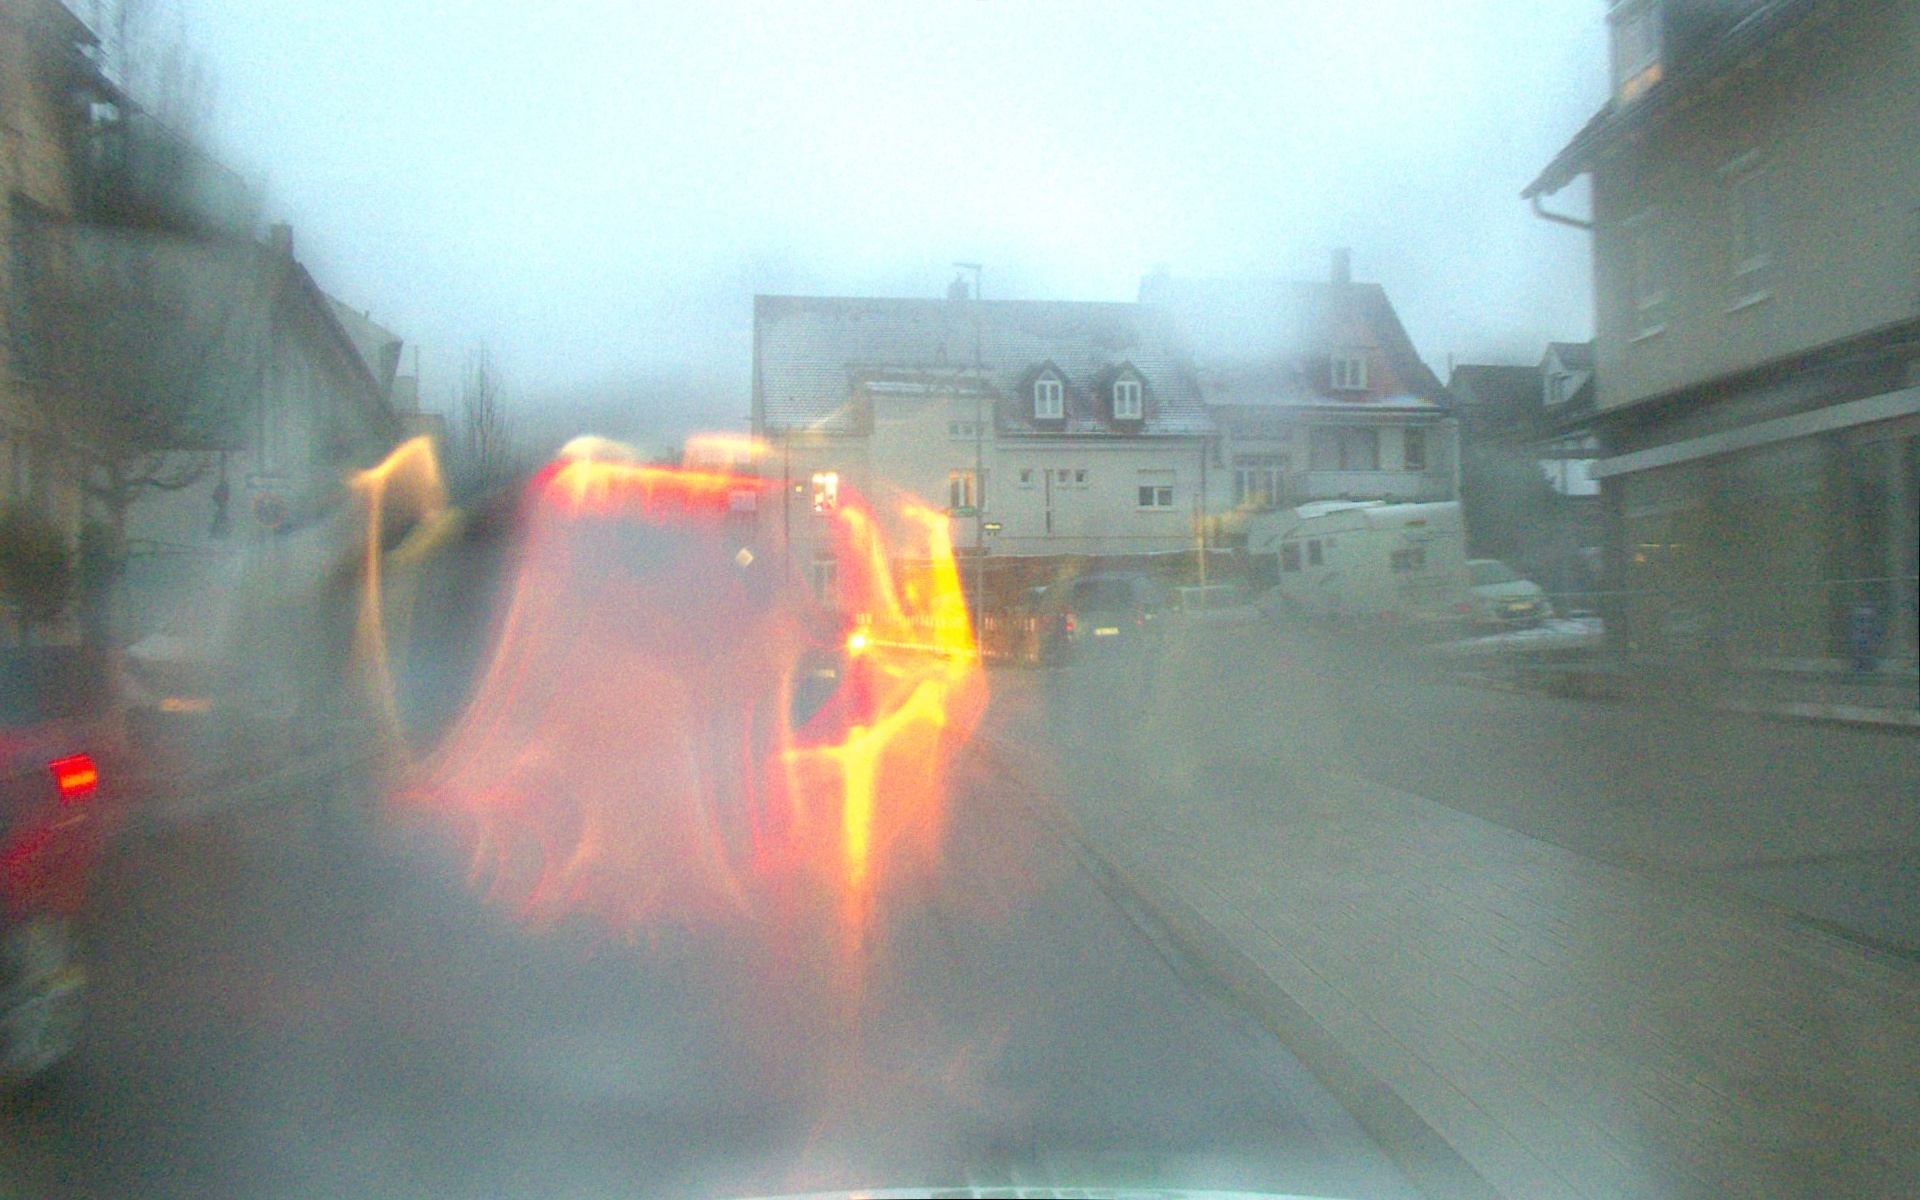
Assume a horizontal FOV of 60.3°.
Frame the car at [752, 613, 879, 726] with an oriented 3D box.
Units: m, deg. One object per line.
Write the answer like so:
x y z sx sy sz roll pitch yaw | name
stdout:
-2.246 1.006 25.496 1.779 1.560 3.995 0 0 -6 | car

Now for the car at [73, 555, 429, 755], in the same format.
-7.584 0.534 18.377 1.954 1.876 5.299 1 0 -4 | car

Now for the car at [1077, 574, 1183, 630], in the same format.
4.867 0.031 47.926 1.790 1.487 4.536 -2 1 -11 | car

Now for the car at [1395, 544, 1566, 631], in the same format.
11.160 -0.262 35.753 1.757 1.580 3.990 -6 1 -10 | car

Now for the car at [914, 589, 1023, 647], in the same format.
0.185 0.468 45.173 1.859 1.488 3.613 -1 0 -19 | car

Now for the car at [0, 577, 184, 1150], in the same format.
-3.576 0.760 3.655 1.879 1.592 4.223 -2 0 -3 | car

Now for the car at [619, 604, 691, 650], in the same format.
-11.297 0.963 61.092 1.965 1.616 3.976 1 0 -21 | car

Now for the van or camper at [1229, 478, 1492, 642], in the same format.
8.573 -0.803 36.325 2.607 3.100 6.708 -4 1 -15 | van or camper

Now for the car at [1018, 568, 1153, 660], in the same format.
2.643 0.271 35.963 1.957 1.796 4.342 -2 0 -9 | car

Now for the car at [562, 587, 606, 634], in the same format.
-18.477 0.513 81.180 1.960 2.241 3.985 1 0 -15 | car

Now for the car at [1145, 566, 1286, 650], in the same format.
5.465 0.210 35.952 1.956 1.639 4.168 -3 -1 -6 | car
